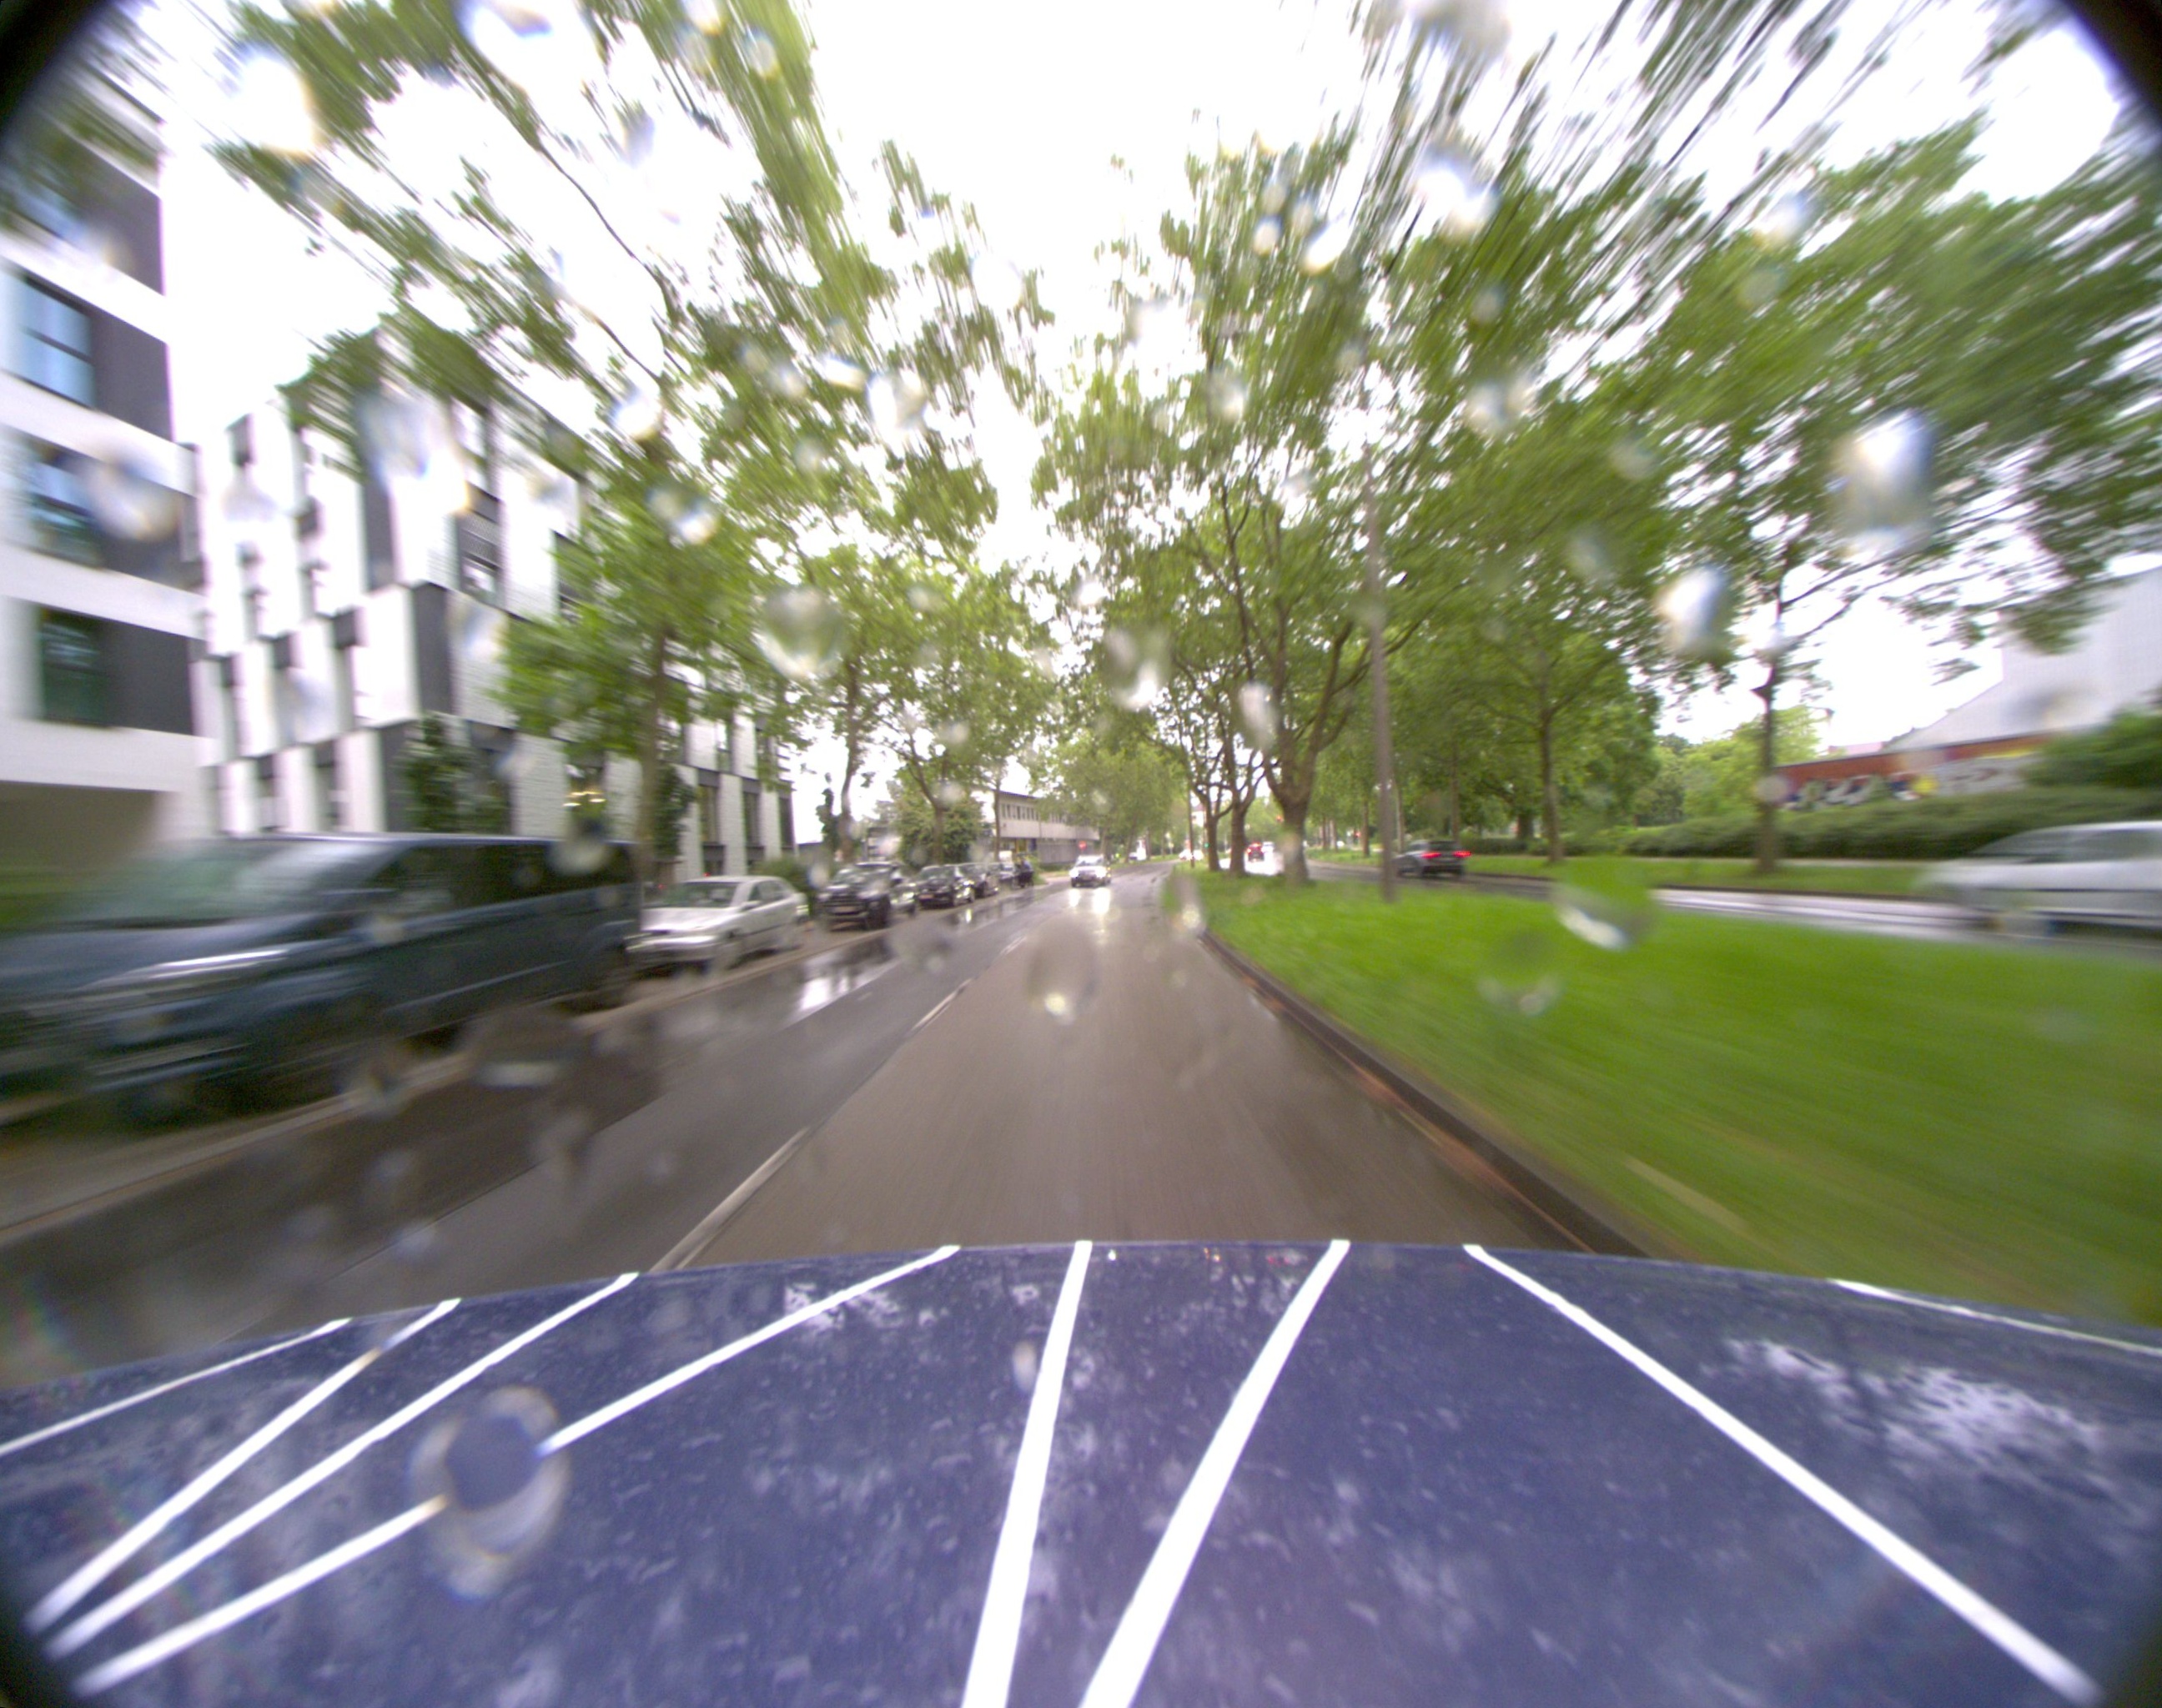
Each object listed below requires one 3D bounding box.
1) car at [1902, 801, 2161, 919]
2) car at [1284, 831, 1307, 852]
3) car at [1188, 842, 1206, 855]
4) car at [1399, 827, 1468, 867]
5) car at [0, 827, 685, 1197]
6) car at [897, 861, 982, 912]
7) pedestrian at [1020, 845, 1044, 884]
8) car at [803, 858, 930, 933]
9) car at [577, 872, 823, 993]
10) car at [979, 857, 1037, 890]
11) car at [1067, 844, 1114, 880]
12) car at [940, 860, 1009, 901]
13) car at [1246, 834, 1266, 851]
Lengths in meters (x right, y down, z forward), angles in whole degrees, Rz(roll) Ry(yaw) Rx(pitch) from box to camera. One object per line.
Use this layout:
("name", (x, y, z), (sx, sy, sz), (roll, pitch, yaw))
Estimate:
("car", (14.400, 0.032, 10.612), (1.747, 1.451, 3.842), (-3, 1, 2))
("car", (24.718, -1.488, 87.382), (2.032, 2.213, 5.441), (-3, 1, 20))
("car", (15.624, -0.762, 101.912), (1.997, 1.620, 4.525), (-4, 1, 13))
("car", (15.331, -0.337, 33.293), (1.746, 1.552, 4.371), (-3, 1, 12))
("car", (-6.321, 0.882, 6.973), (2.126, 2.016, 5.528), (-3, 1, 3))
("car", (-4.843, 1.059, 26.609), (1.747, 1.468, 4.084), (-3, 1, 6))
("pedestrian", (-2.593, 0.550, 40.510), (0.901, 2.002, 0.831), (-4, 1, -30))
("car", (-5.380, 0.965, 19.703), (1.747, 1.557, 4.372), (-3, 1, 3))
("car", (-6.136, 1.171, 12.929), (1.747, 1.460, 4.306), (-3, 1, 3))
("car", (-3.701, 0.985, 39.604), (1.746, 1.420, 4.870), (-3, 1, 9))
("car", (0.587, 0.361, 40.153), (1.998, 1.585, 5.590), (-4, 1, 4))
("car", (-4.488, 1.080, 32.816), (1.747, 1.420, 5.105), (-3, 1, 5))
("car", (20.087, -1.320, 87.136), (2.033, 1.726, 4.959), (-3, 1, 15))
